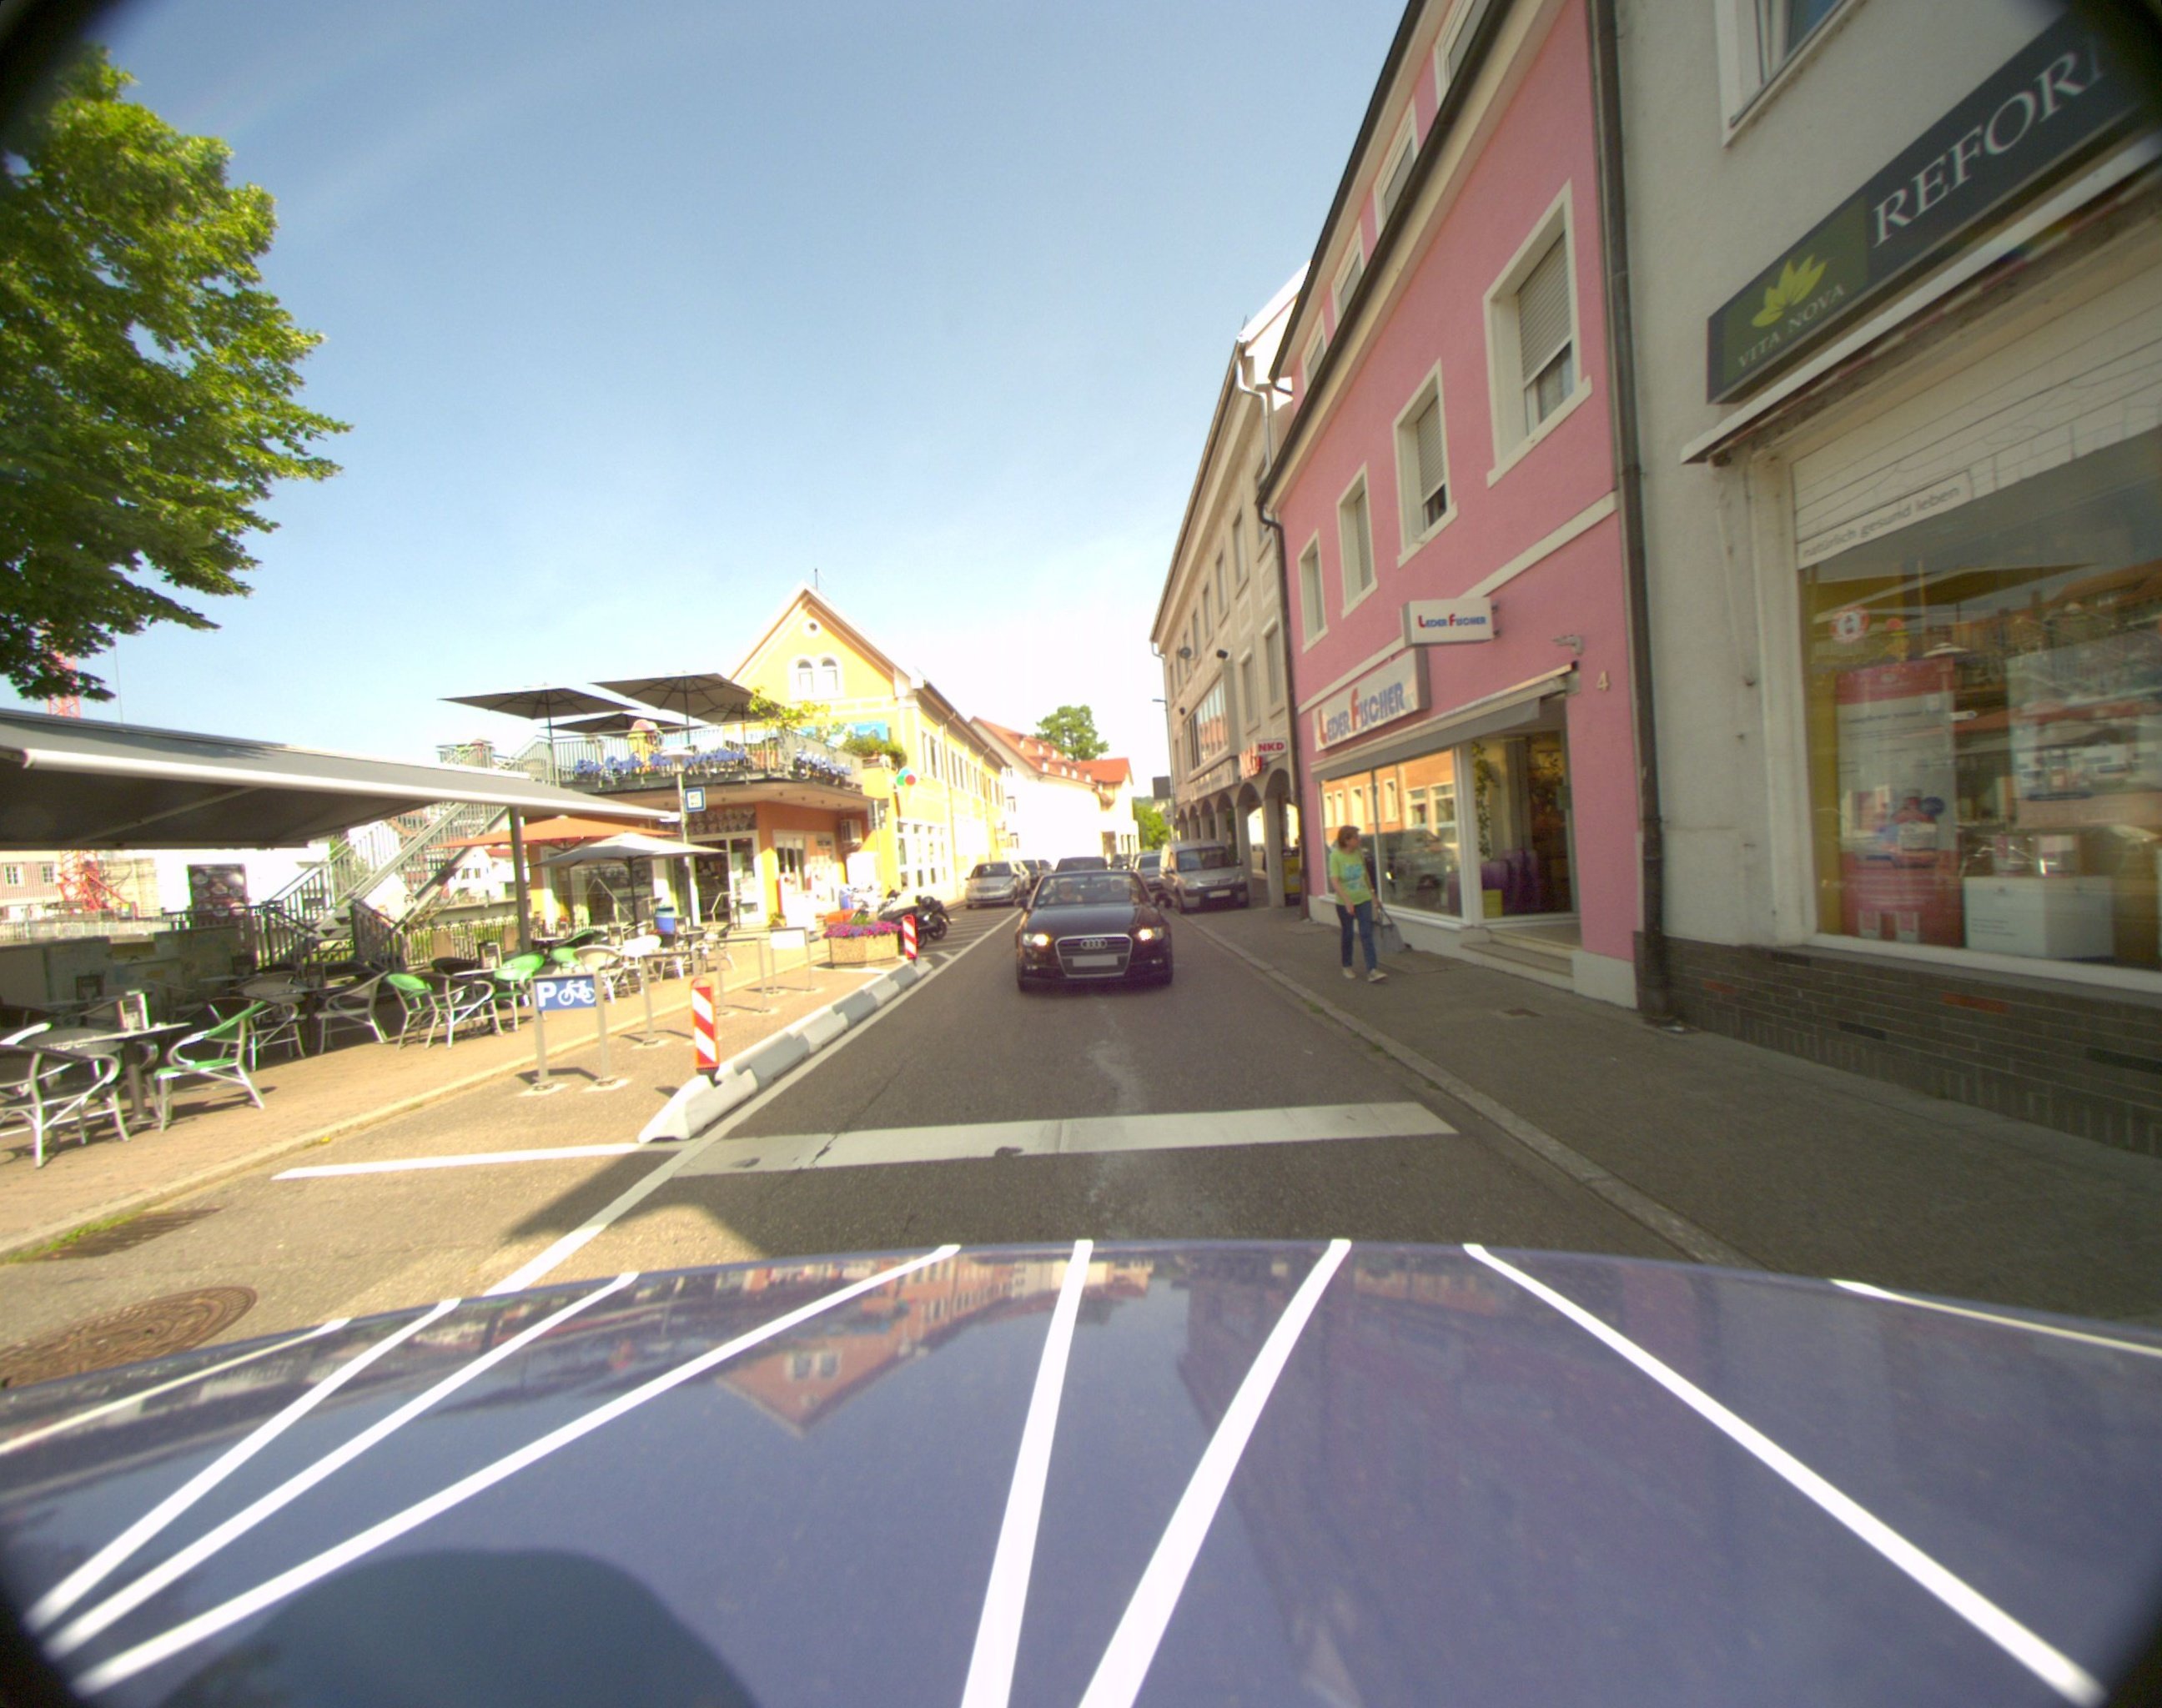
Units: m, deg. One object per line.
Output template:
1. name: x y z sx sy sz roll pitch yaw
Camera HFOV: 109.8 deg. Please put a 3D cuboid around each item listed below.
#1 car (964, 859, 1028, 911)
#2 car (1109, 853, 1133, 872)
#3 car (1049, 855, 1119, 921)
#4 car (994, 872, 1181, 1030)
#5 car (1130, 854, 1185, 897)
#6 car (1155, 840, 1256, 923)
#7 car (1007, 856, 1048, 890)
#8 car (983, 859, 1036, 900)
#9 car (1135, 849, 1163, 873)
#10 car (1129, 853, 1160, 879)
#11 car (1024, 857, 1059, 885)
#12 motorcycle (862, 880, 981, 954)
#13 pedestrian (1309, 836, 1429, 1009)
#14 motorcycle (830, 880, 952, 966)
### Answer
1. car: -3.008 1.049 27.701 1.750 1.587 4.594 -4 0 0
2. car: 3.552 0.708 67.363 1.682 1.551 3.344 -3 0 9
3. car: 0.161 0.868 21.202 1.682 1.551 3.971 -3 0 2
4. car: 0.140 0.996 9.455 1.755 1.348 4.200 -3 0 2
5. car: 2.988 0.807 30.538 1.807 1.461 4.455 -4 0 1
6. car: 3.048 0.628 19.405 1.711 1.729 4.145 -5 0 0
7. car: -2.803 0.946 40.592 1.682 1.636 4.251 -3 0 2
8. car: -3.046 1.065 33.242 1.682 1.549 4.104 -4 0 2
9. car: 5.255 0.514 58.595 1.681 1.658 3.974 -3 0 10
10. car: 4.138 0.750 49.955 1.769 1.551 3.971 -3 0 2
11. car: -2.391 0.992 46.459 1.682 1.531 4.187 -3 0 2
12. motorcycle: -3.188 1.219 15.323 2.094 1.263 0.927 -4 1 -38
13. pedestrian: 2.930 0.670 7.832 0.787 1.622 0.859 -6 1 3
14. motorcycle: -3.471 1.214 13.948 1.903 1.350 0.915 -4 1 -33
